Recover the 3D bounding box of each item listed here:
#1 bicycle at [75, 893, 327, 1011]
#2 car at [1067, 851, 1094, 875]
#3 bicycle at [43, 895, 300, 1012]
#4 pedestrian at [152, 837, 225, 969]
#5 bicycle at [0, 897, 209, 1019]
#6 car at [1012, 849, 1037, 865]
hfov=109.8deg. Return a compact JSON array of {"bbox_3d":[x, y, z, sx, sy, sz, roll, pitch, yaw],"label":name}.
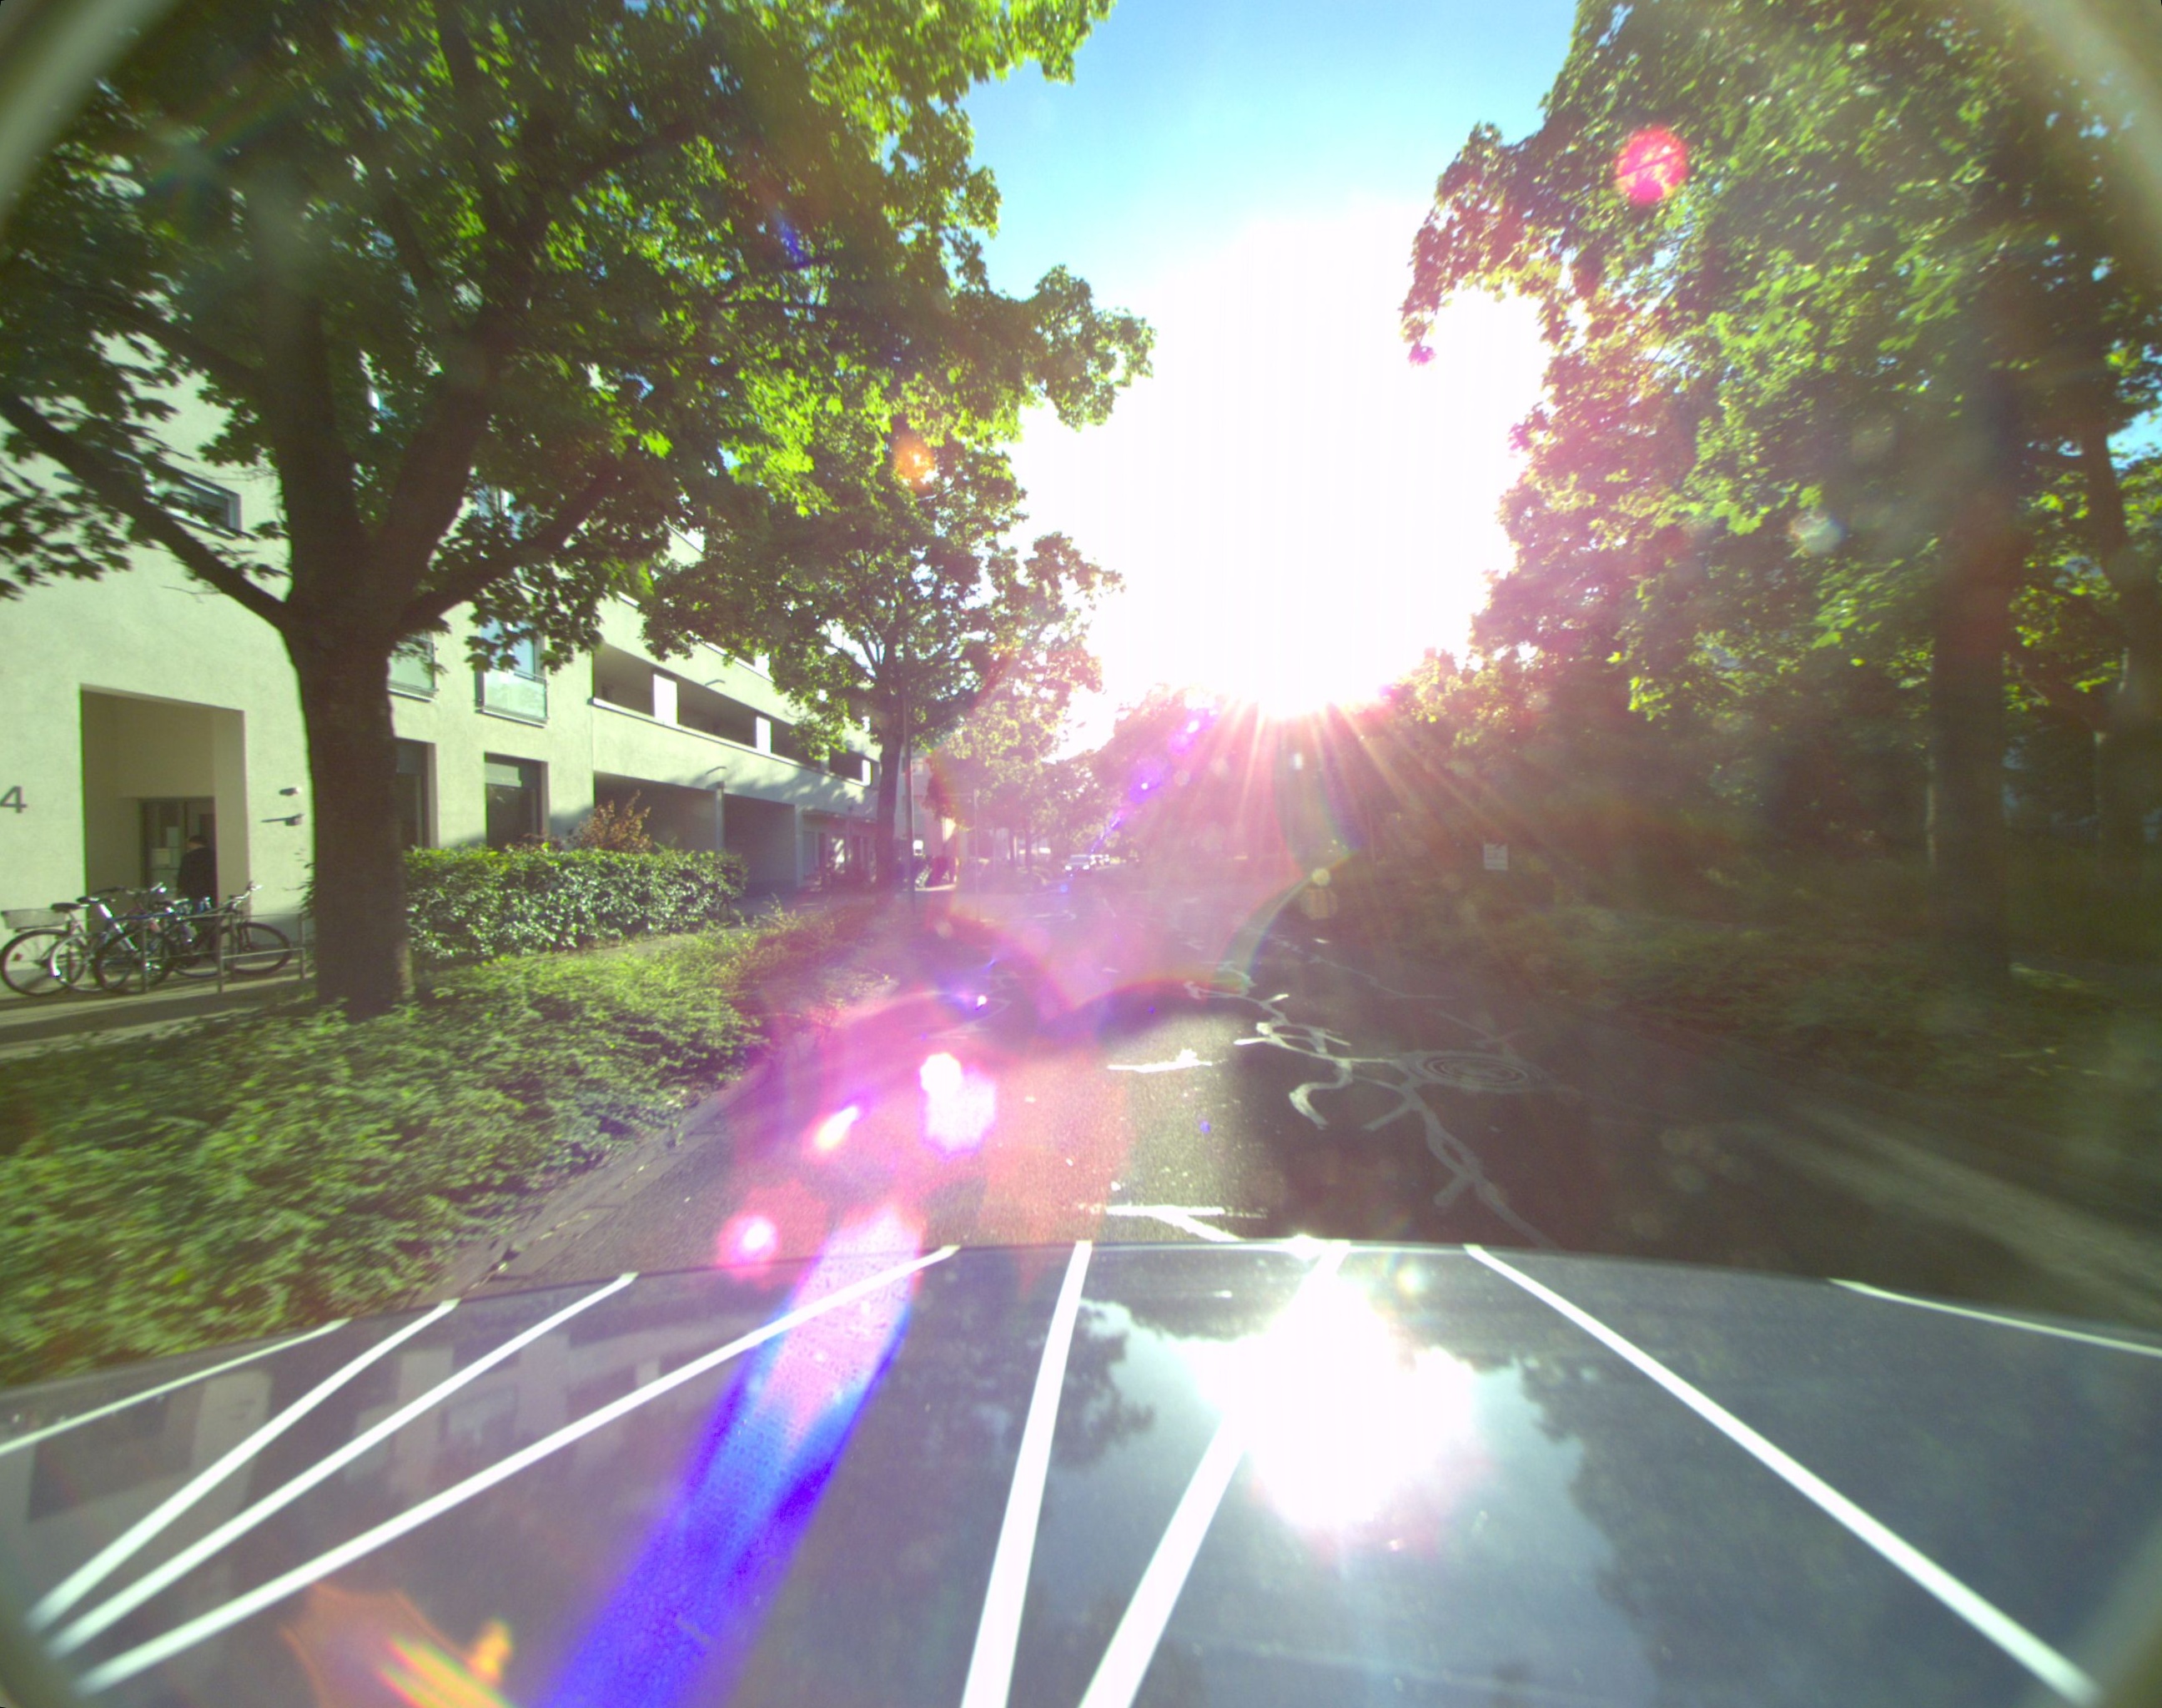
[{"bbox_3d":[-10.126,1.072,8.900,0.420,1.081,2.112,-2,1,1],"label":"bicycle"},{"bbox_3d":[-0.062,0.633,57.416,1.890,1.612,4.618,-2,1,-1],"label":"car"},{"bbox_3d":[-10.586,1.096,8.992,0.420,1.081,2.112,-2,1,1],"label":"bicycle"},{"bbox_3d":[-12.831,0.690,10.929,0.377,1.863,0.486,-2,1,12],"label":"pedestrian"},{"bbox_3d":[-11.039,1.099,8.505,0.420,1.104,1.787,-2,1,1],"label":"bicycle"},{"bbox_3d":[-5.767,0.277,77.594,1.998,1.531,4.000,-2,1,2],"label":"car"}]
